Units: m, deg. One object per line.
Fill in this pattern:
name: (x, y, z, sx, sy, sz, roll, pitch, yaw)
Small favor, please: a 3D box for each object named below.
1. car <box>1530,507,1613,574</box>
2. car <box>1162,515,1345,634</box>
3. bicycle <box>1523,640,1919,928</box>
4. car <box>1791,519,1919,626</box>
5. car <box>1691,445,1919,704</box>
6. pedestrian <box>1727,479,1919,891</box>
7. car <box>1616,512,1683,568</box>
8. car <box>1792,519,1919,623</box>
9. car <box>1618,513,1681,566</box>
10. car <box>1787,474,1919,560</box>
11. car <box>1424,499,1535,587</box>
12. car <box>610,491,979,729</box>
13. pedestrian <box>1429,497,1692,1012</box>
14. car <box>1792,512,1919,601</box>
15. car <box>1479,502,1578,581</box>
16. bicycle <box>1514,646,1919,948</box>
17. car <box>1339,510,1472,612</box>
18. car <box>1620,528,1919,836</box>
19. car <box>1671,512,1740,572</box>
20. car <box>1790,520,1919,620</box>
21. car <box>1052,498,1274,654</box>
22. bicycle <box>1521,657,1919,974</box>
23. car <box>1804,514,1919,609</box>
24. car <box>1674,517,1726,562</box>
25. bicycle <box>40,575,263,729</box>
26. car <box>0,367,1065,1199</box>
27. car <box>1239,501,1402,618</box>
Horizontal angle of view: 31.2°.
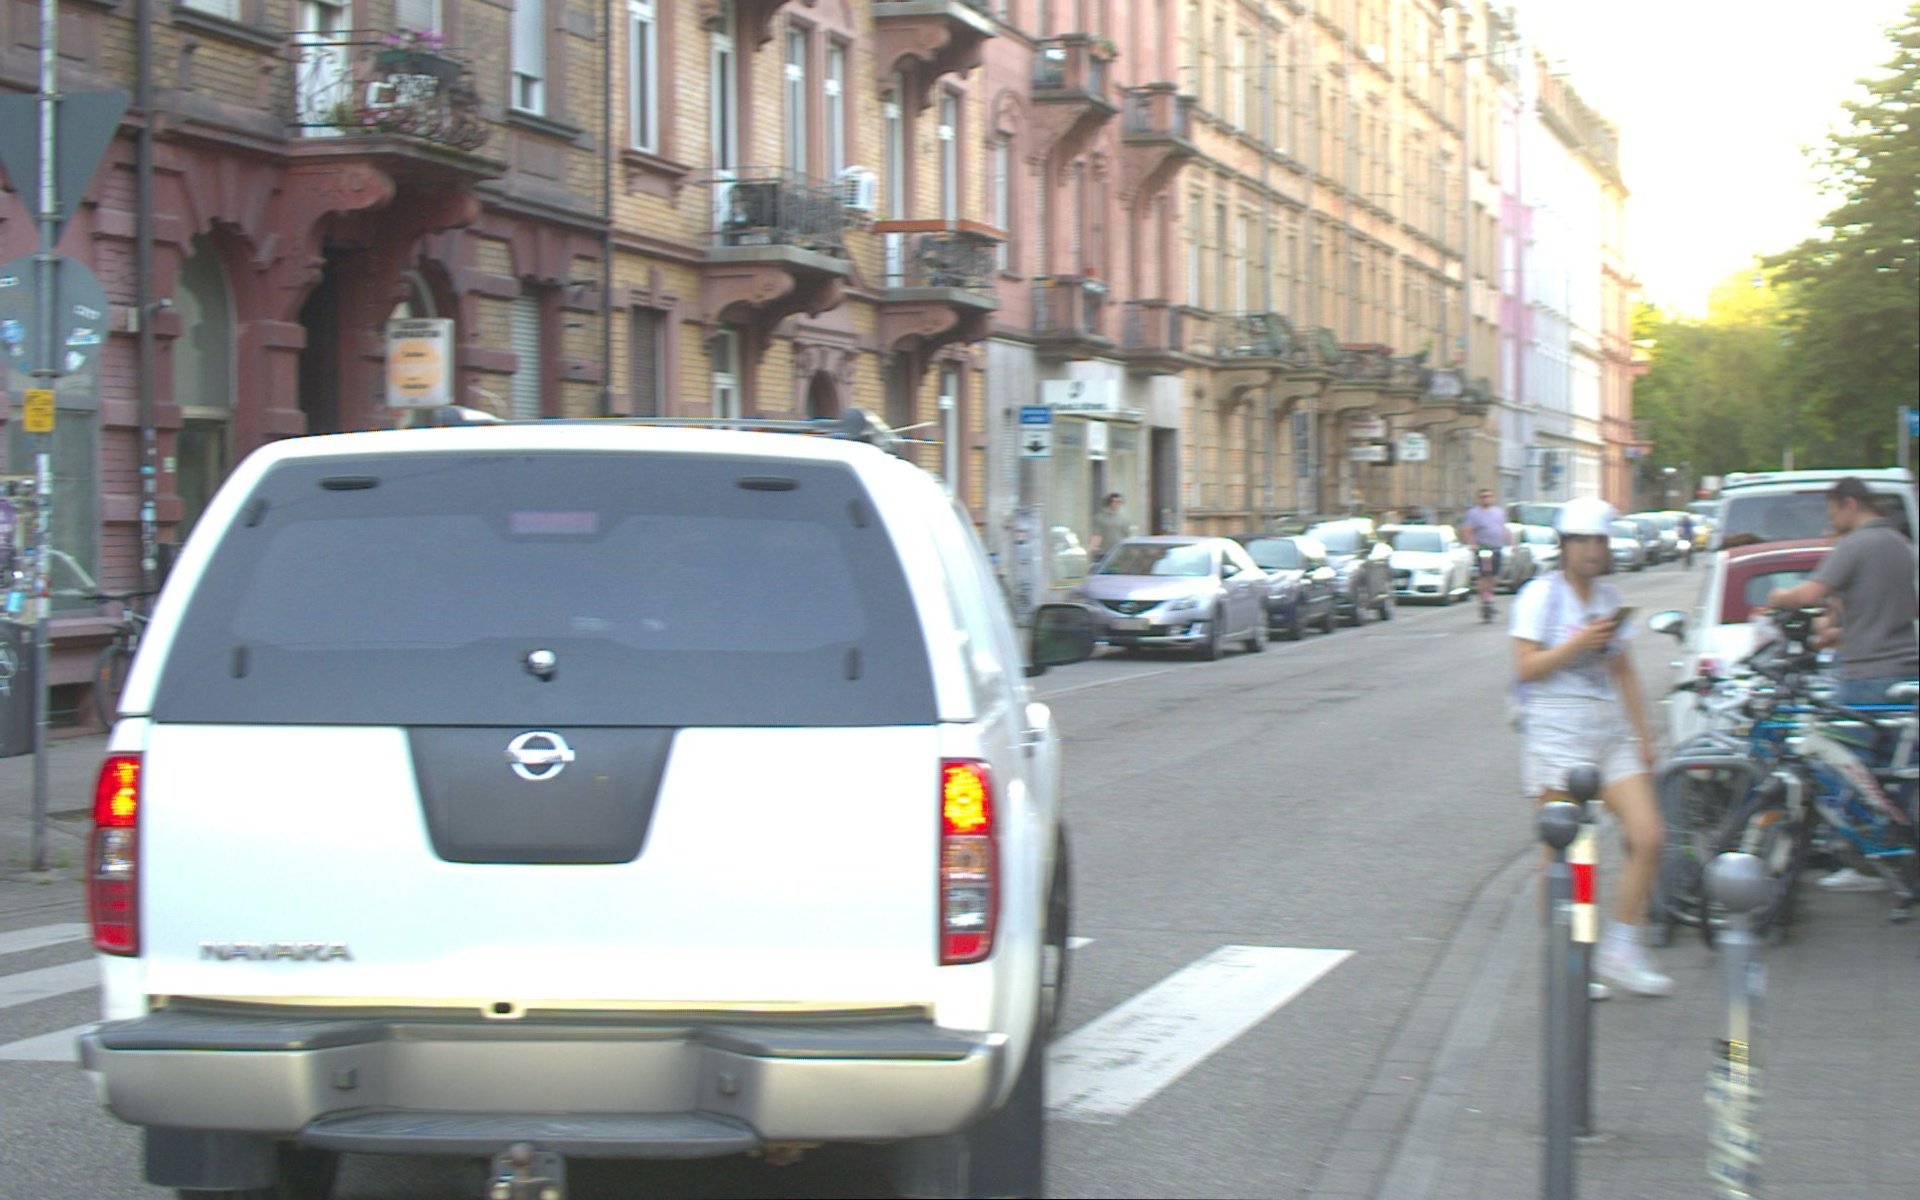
car: (16.530, -1.611, 92.812, 1.836, 1.744, 3.997, 2, 1, 15)
car: (4.124, -0.383, 47.754, 1.836, 1.541, 4.035, 2, 1, 15)
bicycle: (3.482, 0.698, 13.460, 2.462, 1.035, 0.616, -3, 0, 11)
car: (16.120, -0.452, 58.012, 3.990, 1.744, 1.839, 2, 1, 15)
car: (7.077, -0.233, 28.028, 1.944, 1.927, 3.997, 2, 1, 15)
pedestrian: (3.617, 0.335, 14.369, 0.720, 1.657, 0.702, 2, 1, 16)
car: (22.332, -1.936, 111.291, 1.836, 1.744, 3.997, 2, 1, 15)
car: (16.664, -0.493, 60.182, 3.990, 1.744, 1.839, 2, 1, 15)
car: (23.551, -2.057, 117.376, 1.836, 1.744, 3.997, 2, 1, 15)
car: (19.587, -1.740, 72.721, 3.990, 1.744, 1.839, 2, 1, 15)
car: (10.832, -1.184, 71.502, 1.836, 1.744, 3.997, 2, 1, 15)
car: (-1.249, 0.031, 27.837, 1.836, 1.744, 3.997, 2, 1, 15)
pedestrian: (1.993, 0.475, 11.326, 0.798, 1.615, 0.944, 0, 1, 13)
car: (19.000, -0.873, 69.865, 3.990, 1.744, 1.839, 2, 1, 15)
car: (13.079, -1.350, 78.976, 1.836, 1.744, 3.997, 2, 1, 15)
bicycle: (3.341, 0.711, 12.805, 2.462, 1.035, 0.616, -3, 0, 11)
car: (8.121, -0.729, 62.421, 1.836, 1.744, 3.997, 2, 1, 15)
car: (4.847, 0.381, 19.550, 1.836, 1.536, 3.997, 2, 1, 15)
car: (22.671, -1.767, 104.489, 1.836, 1.744, 3.997, 2, 1, 15)
car: (17.253, -0.543, 62.779, 3.990, 1.744, 1.839, 2, 1, 15)
car: (2.502, -0.320, 41.370, 1.836, 1.744, 4.160, 2, 1, 15)
bicycle: (3.258, 0.734, 12.122, 2.462, 1.035, 0.616, -3, 0, 12)
car: (18.191, -0.715, 65.541, 3.990, 1.744, 1.839, 2, 1, 15)
car: (29.915, -2.445, 138.984, 1.836, 1.744, 3.997, 2, 1, 15)
bicycle: (-5.869, 0.352, 25.111, 0.387, 1.033, 2.481, 2, 1, 16)
car: (-0.756, 0.464, 8.659, 1.938, 1.804, 5.000, -1, 1, 3)
car: (5.553, -0.634, 52.587, 1.836, 1.672, 4.035, 2, 1, 15)
